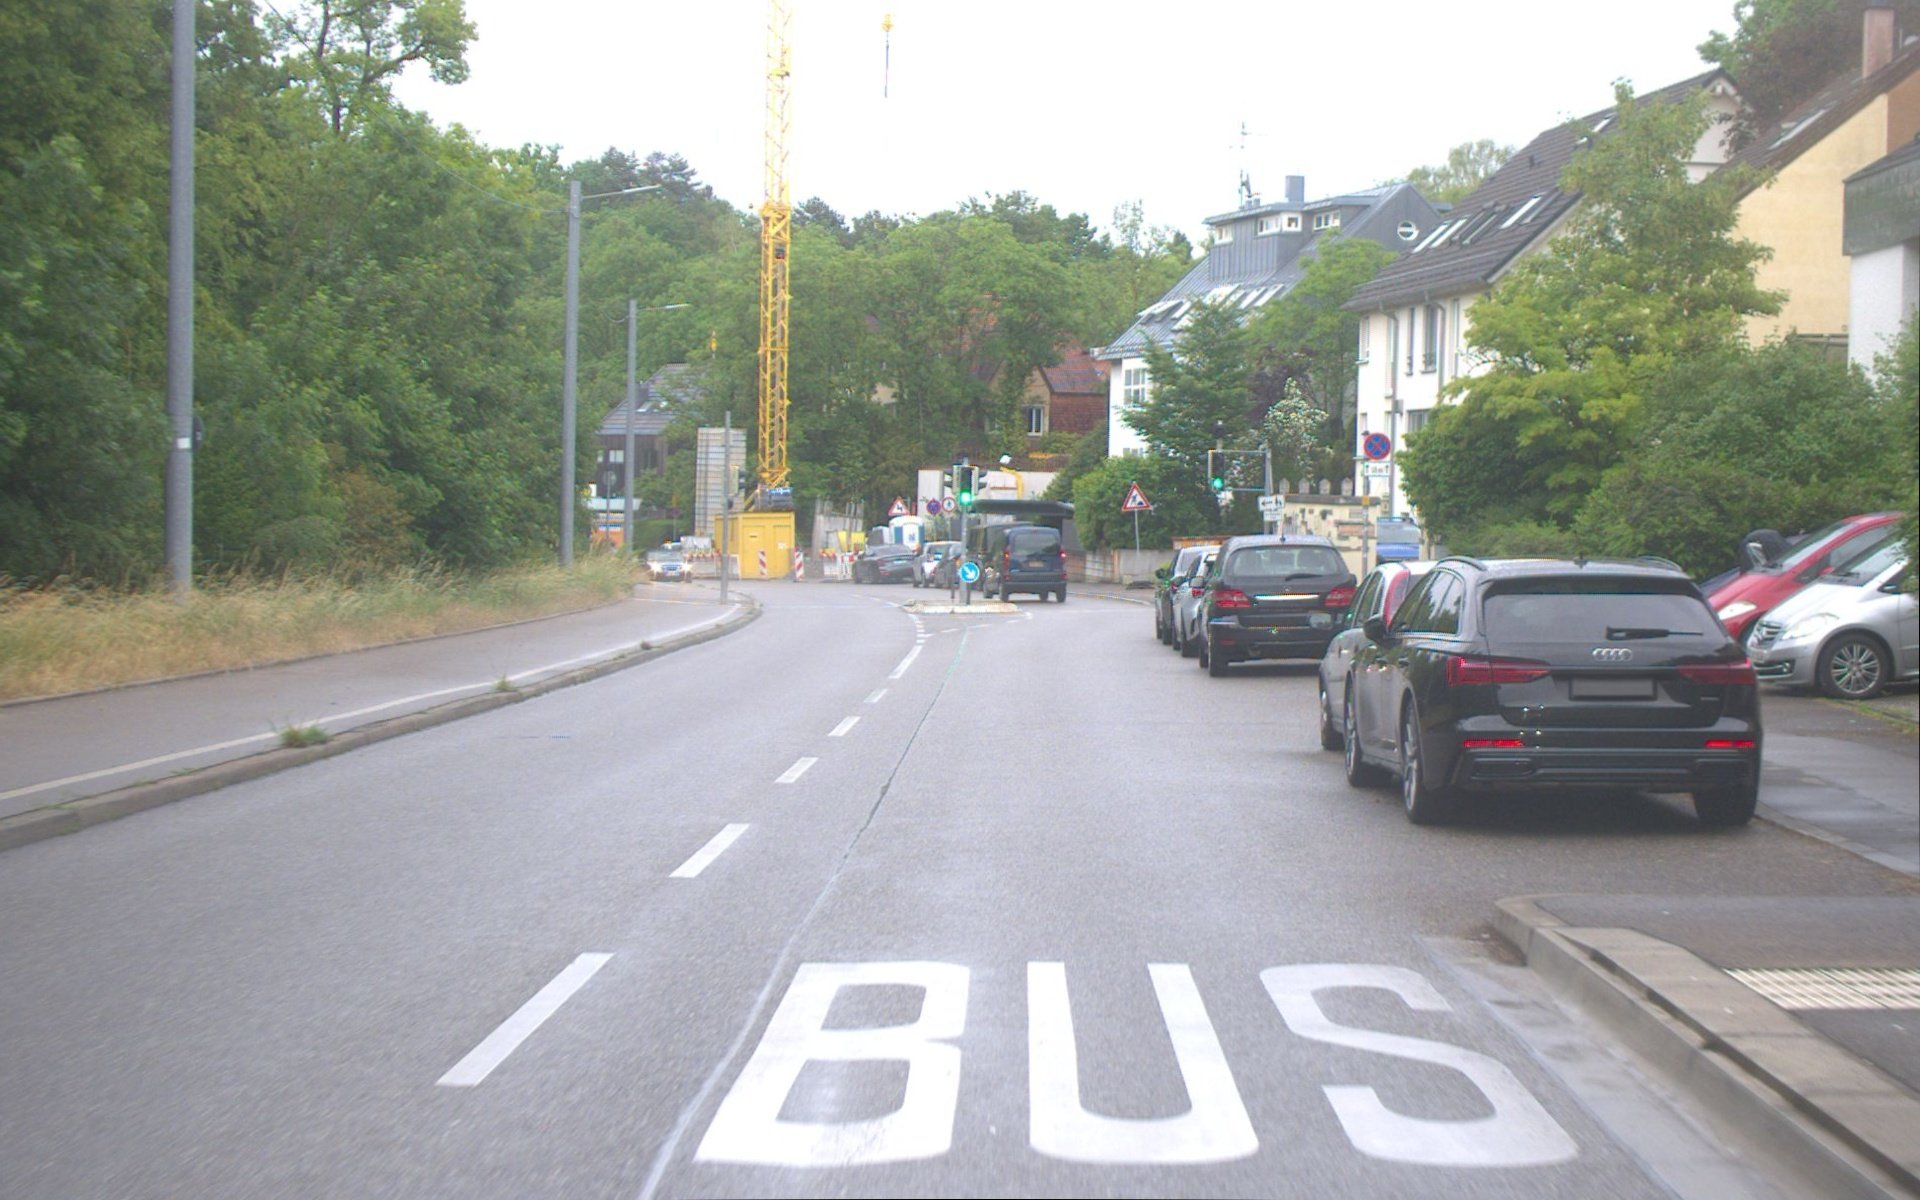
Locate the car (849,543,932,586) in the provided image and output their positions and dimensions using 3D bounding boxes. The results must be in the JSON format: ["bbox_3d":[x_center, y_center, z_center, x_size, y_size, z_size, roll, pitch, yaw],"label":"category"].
[{"bbox_3d":[-2.562,-1.317,125.142,1.931,1.417,4.839,2,1,-14],"label":"car"}]

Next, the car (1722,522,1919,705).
[{"bbox_3d":[9.070,0.051,31.530,3.657,1.531,1.828,-3,1,-1],"label":"car"}]

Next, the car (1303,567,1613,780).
[{"bbox_3d":[3.458,0.475,24.523,1.813,1.393,4.102,0,0,3],"label":"car"}]

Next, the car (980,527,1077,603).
[{"bbox_3d":[1.666,-0.847,84.906,1.931,1.745,4.001,3,0,-4],"label":"car"}]

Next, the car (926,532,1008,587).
[{"bbox_3d":[0.192,-1.248,107.000,1.931,1.590,4.395,-3,1,-7],"label":"car"}]

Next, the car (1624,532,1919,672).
[{"bbox_3d":[9.367,0.016,36.631,4.245,1.455,1.882,0,0,1],"label":"car"}]

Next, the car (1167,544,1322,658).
[{"bbox_3d":[3.828,0.008,46.906,1.793,1.481,4.495,0,0,1],"label":"car"}]

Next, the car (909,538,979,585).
[{"bbox_3d":[-0.537,-1.247,111.523,1.672,1.452,3.387,-1,1,-10],"label":"car"}]

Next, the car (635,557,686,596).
[{"bbox_3d":[-11.658,-0.920,133.919,1.743,1.455,4.414,0,1,-2],"label":"car"}]

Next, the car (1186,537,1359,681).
[{"bbox_3d":[3.640,0.058,40.714,1.730,1.562,4.522,-1,1,2],"label":"car"}]

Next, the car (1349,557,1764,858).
[{"bbox_3d":[3.319,0.546,19.950,1.830,1.542,4.629,0,0,3],"label":"car"}]

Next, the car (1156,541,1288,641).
[{"bbox_3d":[3.905,-0.146,51.864,1.752,1.438,4.600,0,0,1],"label":"car"}]

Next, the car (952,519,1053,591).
[{"bbox_3d":[1.230,-1.346,102.025,1.993,2.007,4.958,-2,1,-10],"label":"car"}]

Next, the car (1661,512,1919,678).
[{"bbox_3d":[9.084,-0.086,34.568,3.658,1.561,1.882,-2,1,1],"label":"car"}]

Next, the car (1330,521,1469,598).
[{"bbox_3d":[9.741,-0.893,76.508,1.931,1.590,4.343,3,0,-8],"label":"car"}]
